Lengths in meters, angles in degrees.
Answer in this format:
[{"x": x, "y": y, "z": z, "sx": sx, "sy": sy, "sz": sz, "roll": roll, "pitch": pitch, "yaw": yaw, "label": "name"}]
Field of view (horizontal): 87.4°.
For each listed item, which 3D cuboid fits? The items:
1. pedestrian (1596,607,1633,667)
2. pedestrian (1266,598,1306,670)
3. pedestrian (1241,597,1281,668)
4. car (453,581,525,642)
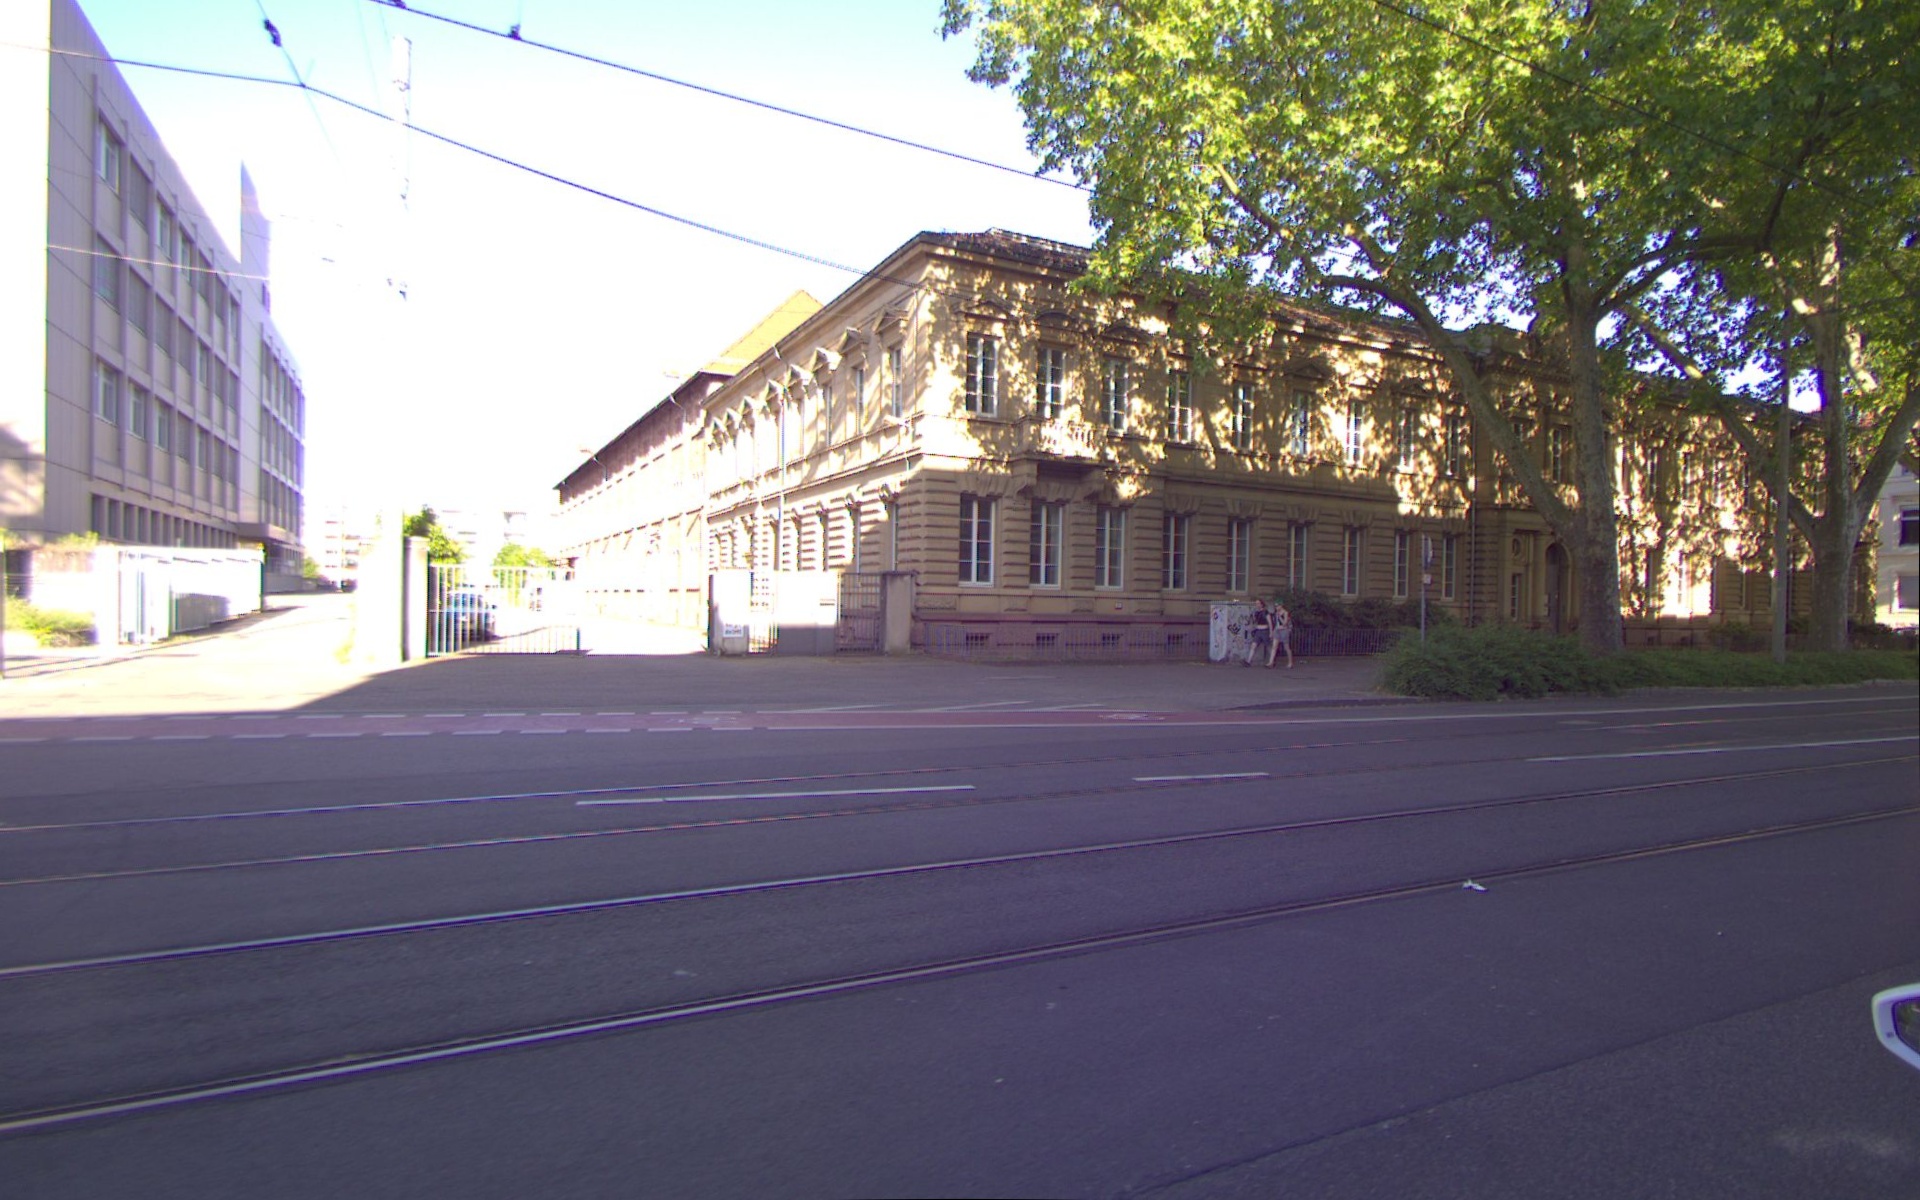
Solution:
[{"x": 21.114, "y": 1.192, "z": 32.407, "sx": 0.829, "sy": 1.874, "sz": 0.714, "roll": 1, "pitch": 1, "yaw": -35, "label": "pedestrian"}, {"x": 7.932, "y": 0.813, "z": 24.454, "sx": 0.650, "sy": 1.720, "sz": 0.629, "roll": 1, "pitch": 1, "yaw": -35, "label": "pedestrian"}, {"x": 7.483, "y": 0.794, "z": 24.957, "sx": 0.655, "sy": 1.720, "sz": 0.666, "roll": 1, "pitch": 1, "yaw": -35, "label": "pedestrian"}, {"x": -14.671, "y": 0.320, "z": 31.176, "sx": 1.830, "sy": 1.742, "sz": 4.249, "roll": 1, "pitch": 0, "yaw": -28, "label": "car"}]
